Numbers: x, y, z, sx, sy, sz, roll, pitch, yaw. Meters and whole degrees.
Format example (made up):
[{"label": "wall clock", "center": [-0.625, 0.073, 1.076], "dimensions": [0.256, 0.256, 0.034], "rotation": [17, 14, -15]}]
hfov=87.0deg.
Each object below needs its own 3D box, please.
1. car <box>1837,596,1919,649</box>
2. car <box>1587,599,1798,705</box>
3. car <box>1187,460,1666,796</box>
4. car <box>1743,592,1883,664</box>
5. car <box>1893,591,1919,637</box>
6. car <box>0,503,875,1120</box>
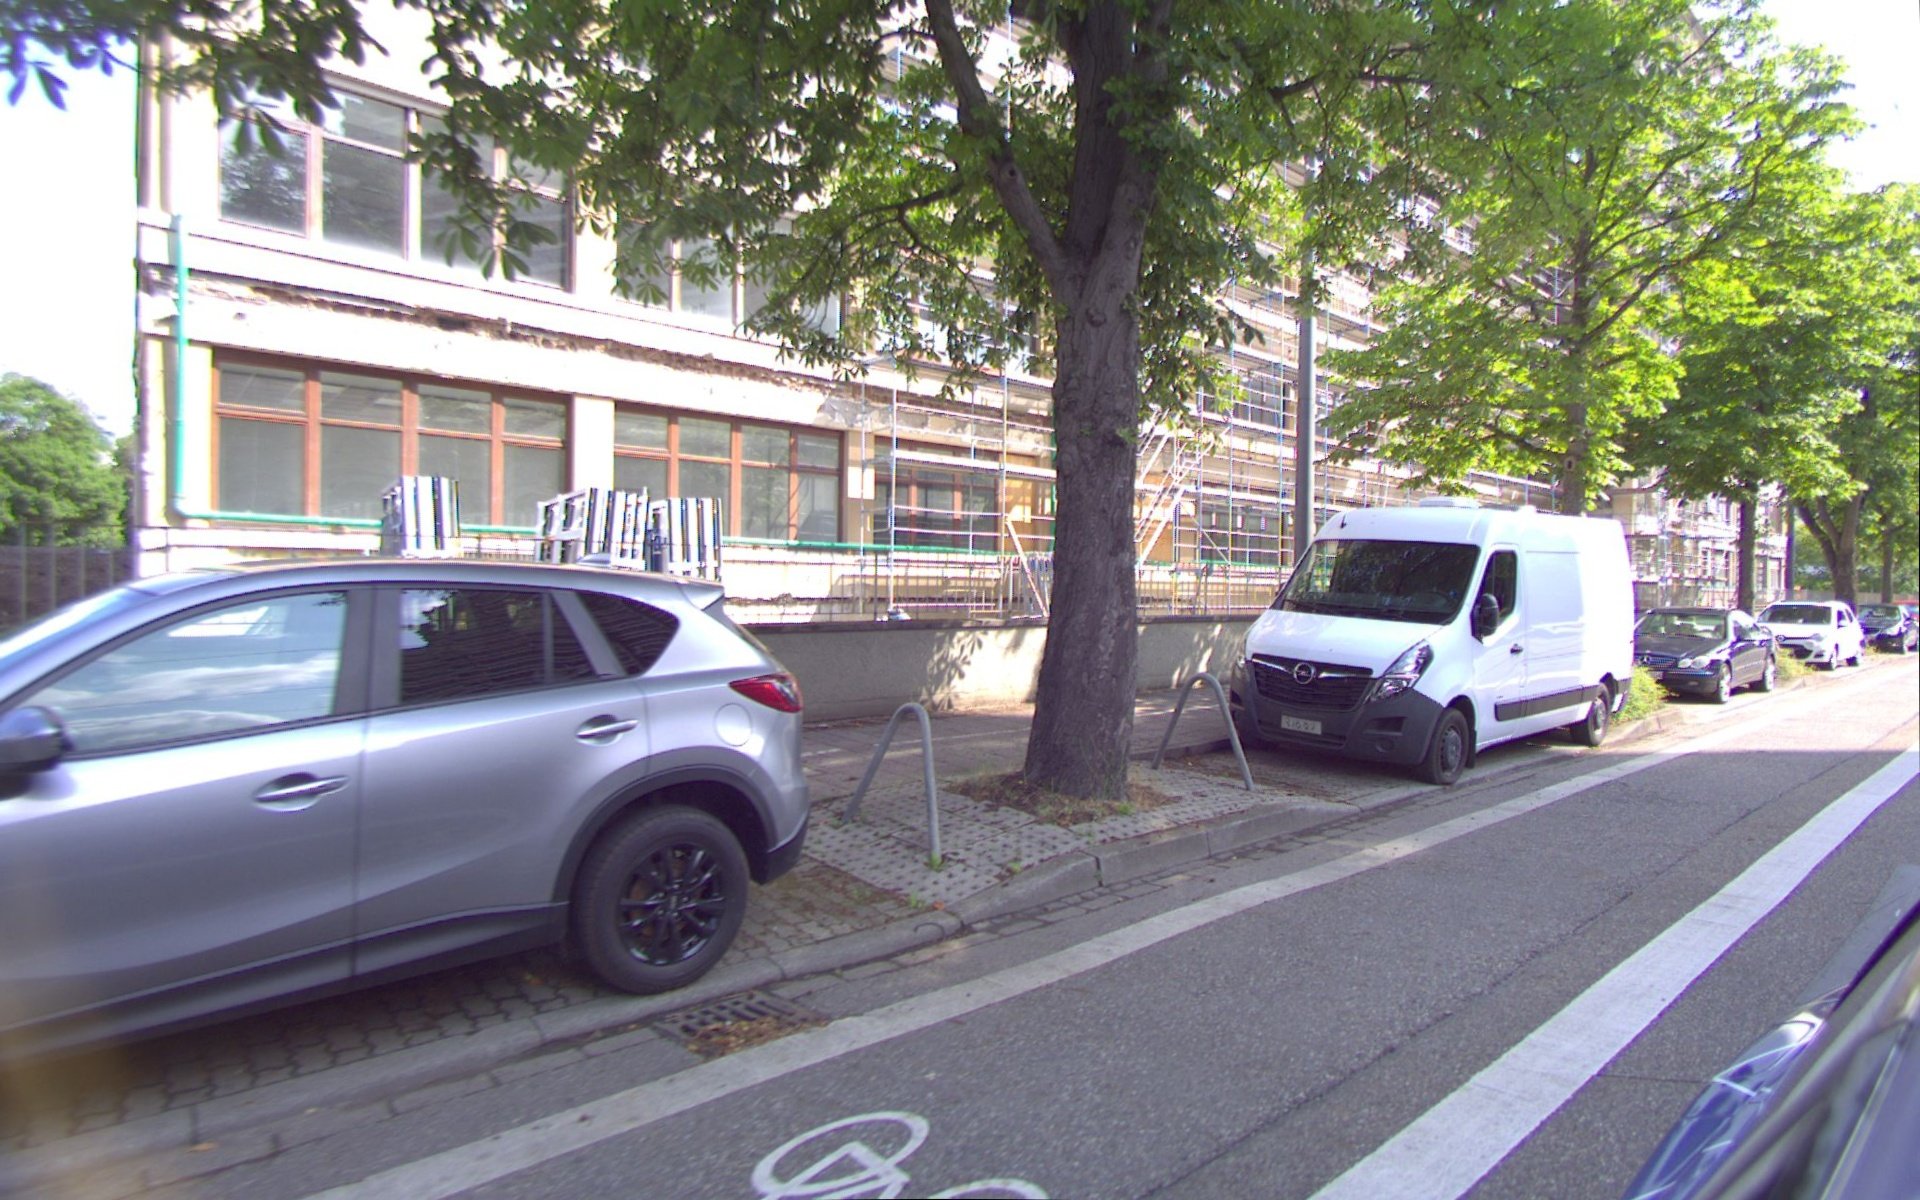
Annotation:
[{"label": "car", "center": [26.708, 0.607, 29.142], "dimensions": [3.567, 1.416, 1.735], "rotation": [0, 0, -41]}, {"label": "car", "center": [11.966, 0.735, 16.417], "dimensions": [4.429, 1.388, 1.738], "rotation": [0, 4, -41]}, {"label": "car", "center": [5.069, 0.155, 10.488], "dimensions": [5.814, 2.598, 2.128], "rotation": [0, 3, -40]}, {"label": "car", "center": [19.177, 0.578, 22.709], "dimensions": [3.822, 1.475, 1.569], "rotation": [0, 0, -37]}, {"label": "car", "center": [34.733, 0.483, 36.243], "dimensions": [3.583, 1.594, 1.531], "rotation": [0, 0, -41]}, {"label": "car", "center": [-2.625, 0.541, 3.732], "dimensions": [4.379, 1.627, 1.769], "rotation": [2, 1, -41]}]
